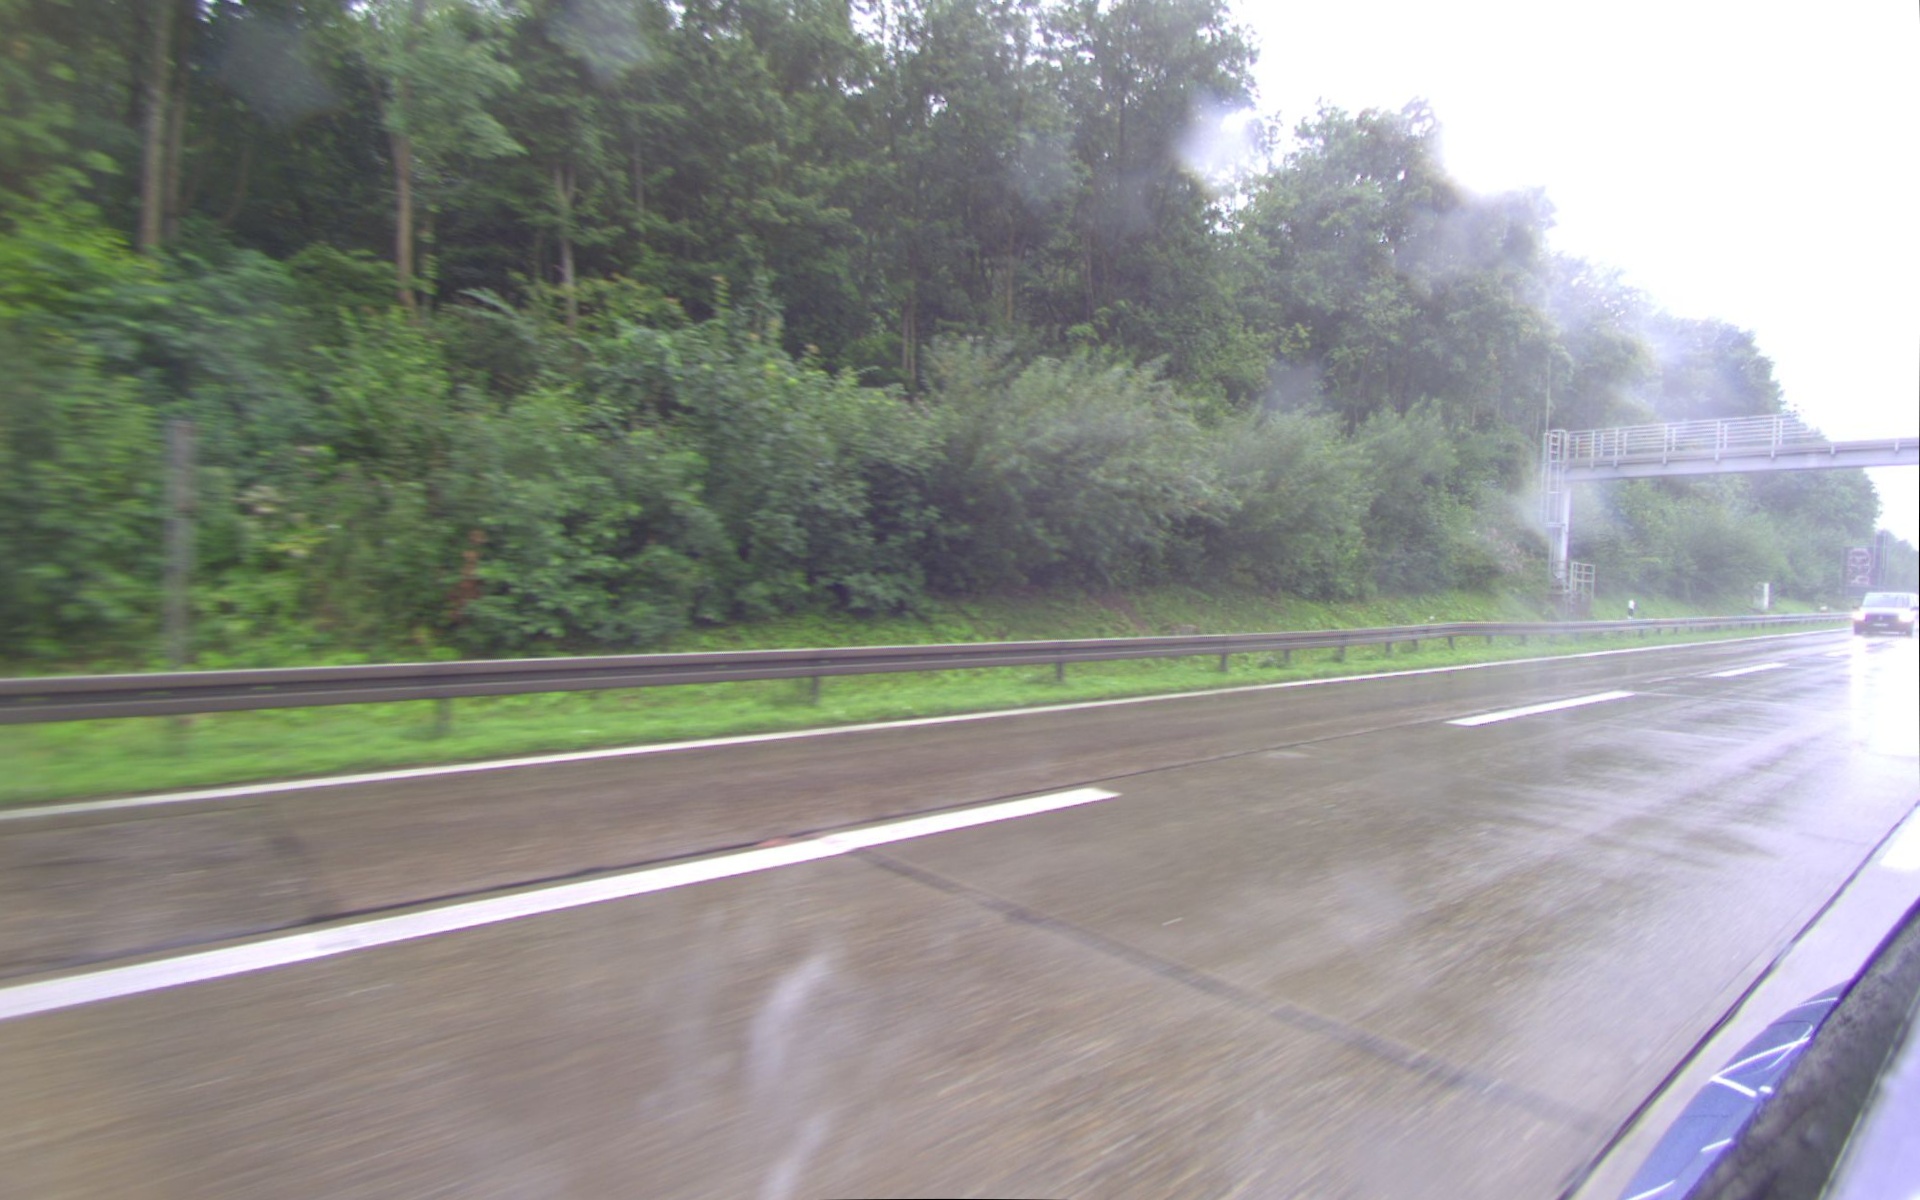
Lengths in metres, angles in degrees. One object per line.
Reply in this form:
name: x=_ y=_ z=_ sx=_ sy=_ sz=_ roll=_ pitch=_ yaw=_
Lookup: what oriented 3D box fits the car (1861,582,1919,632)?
car: x=40.601 y=0.290 z=43.695 sx=3.927 sy=2.039 sz=1.859 roll=0 pitch=1 yaw=-38
